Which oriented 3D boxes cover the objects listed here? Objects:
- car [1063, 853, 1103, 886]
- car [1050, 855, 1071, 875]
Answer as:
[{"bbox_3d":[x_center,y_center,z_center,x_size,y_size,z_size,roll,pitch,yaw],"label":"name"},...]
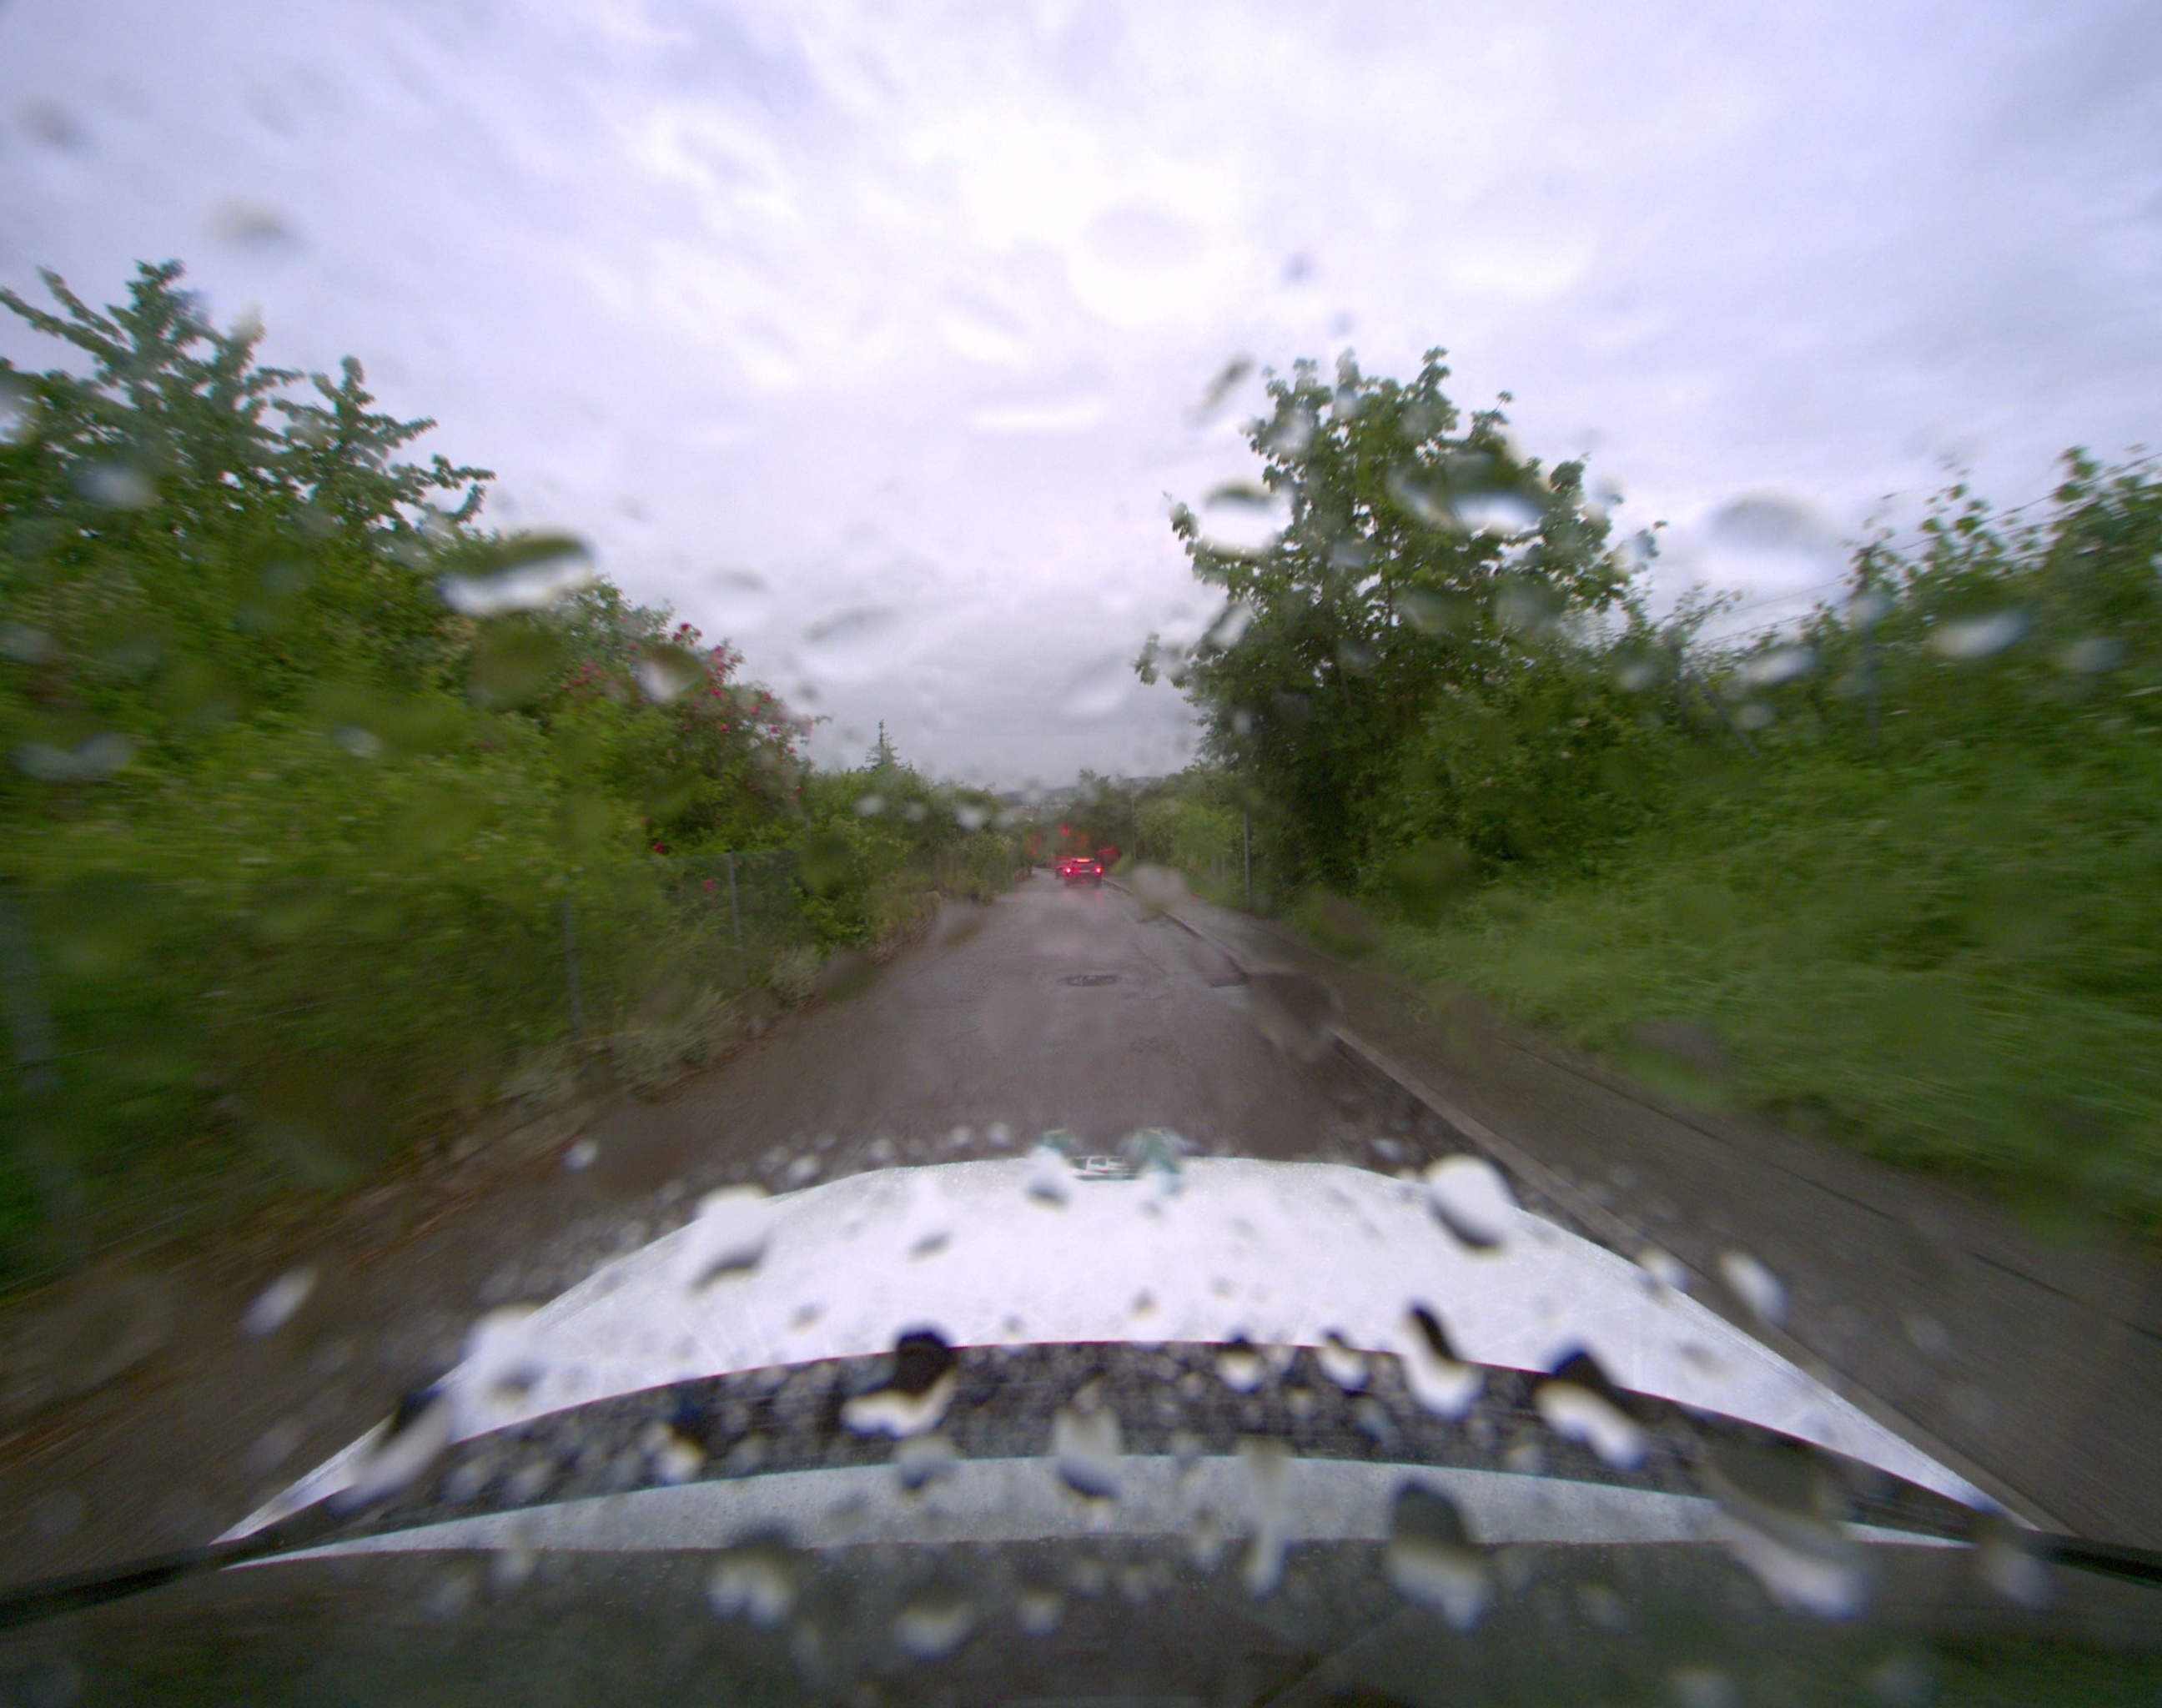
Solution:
[{"bbox_3d":[0.092,0.742,40.472,1.829,1.464,3.999,-3,0,0],"label":"car"},{"bbox_3d":[-1.732,0.929,69.608,1.673,1.565,3.792,-1,1,-1],"label":"car"}]
